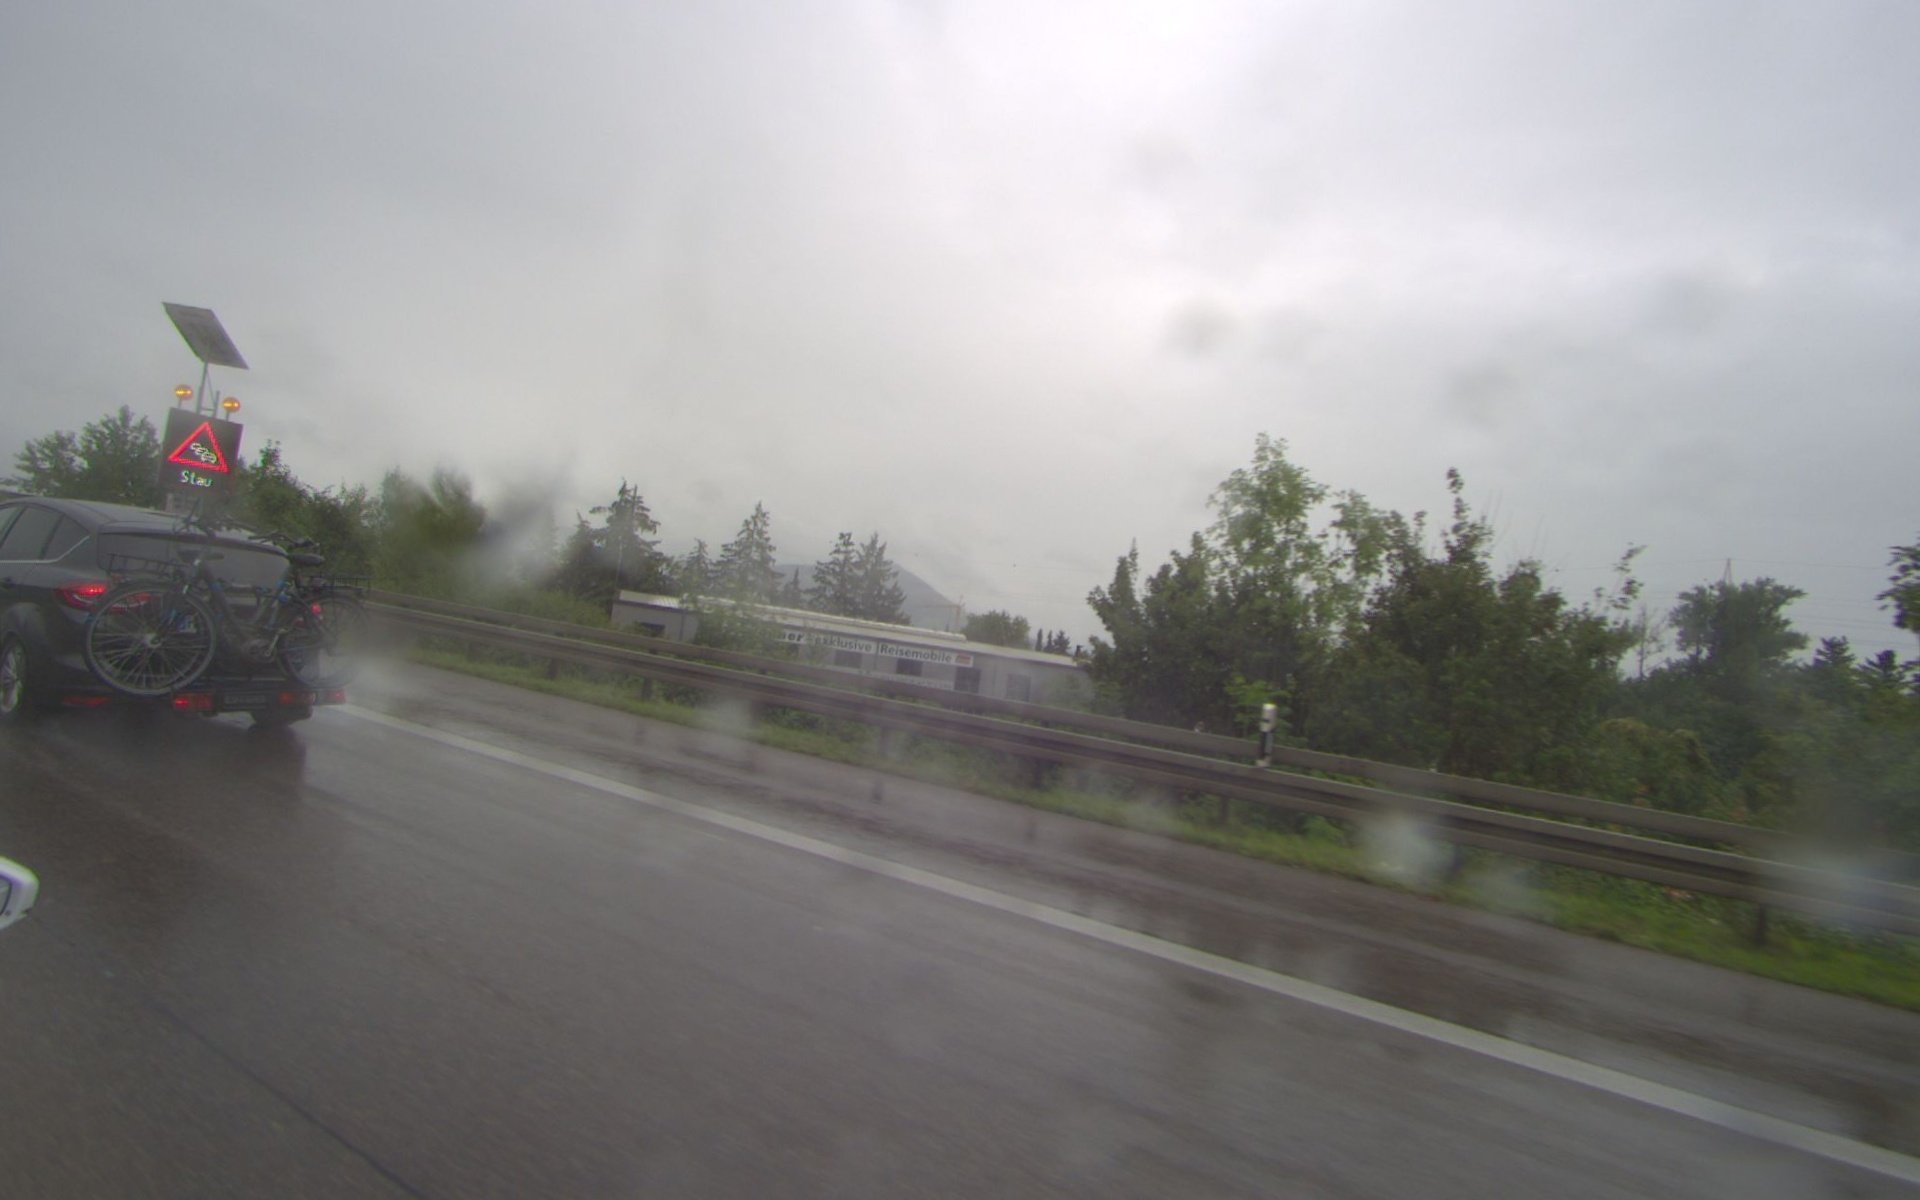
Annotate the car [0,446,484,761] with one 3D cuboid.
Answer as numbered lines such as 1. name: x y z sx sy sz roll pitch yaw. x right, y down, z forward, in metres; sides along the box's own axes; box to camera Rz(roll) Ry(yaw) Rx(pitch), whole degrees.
1. car: -6.752 -0.118 8.214 5.626 1.766 2.461 7 -2 33
